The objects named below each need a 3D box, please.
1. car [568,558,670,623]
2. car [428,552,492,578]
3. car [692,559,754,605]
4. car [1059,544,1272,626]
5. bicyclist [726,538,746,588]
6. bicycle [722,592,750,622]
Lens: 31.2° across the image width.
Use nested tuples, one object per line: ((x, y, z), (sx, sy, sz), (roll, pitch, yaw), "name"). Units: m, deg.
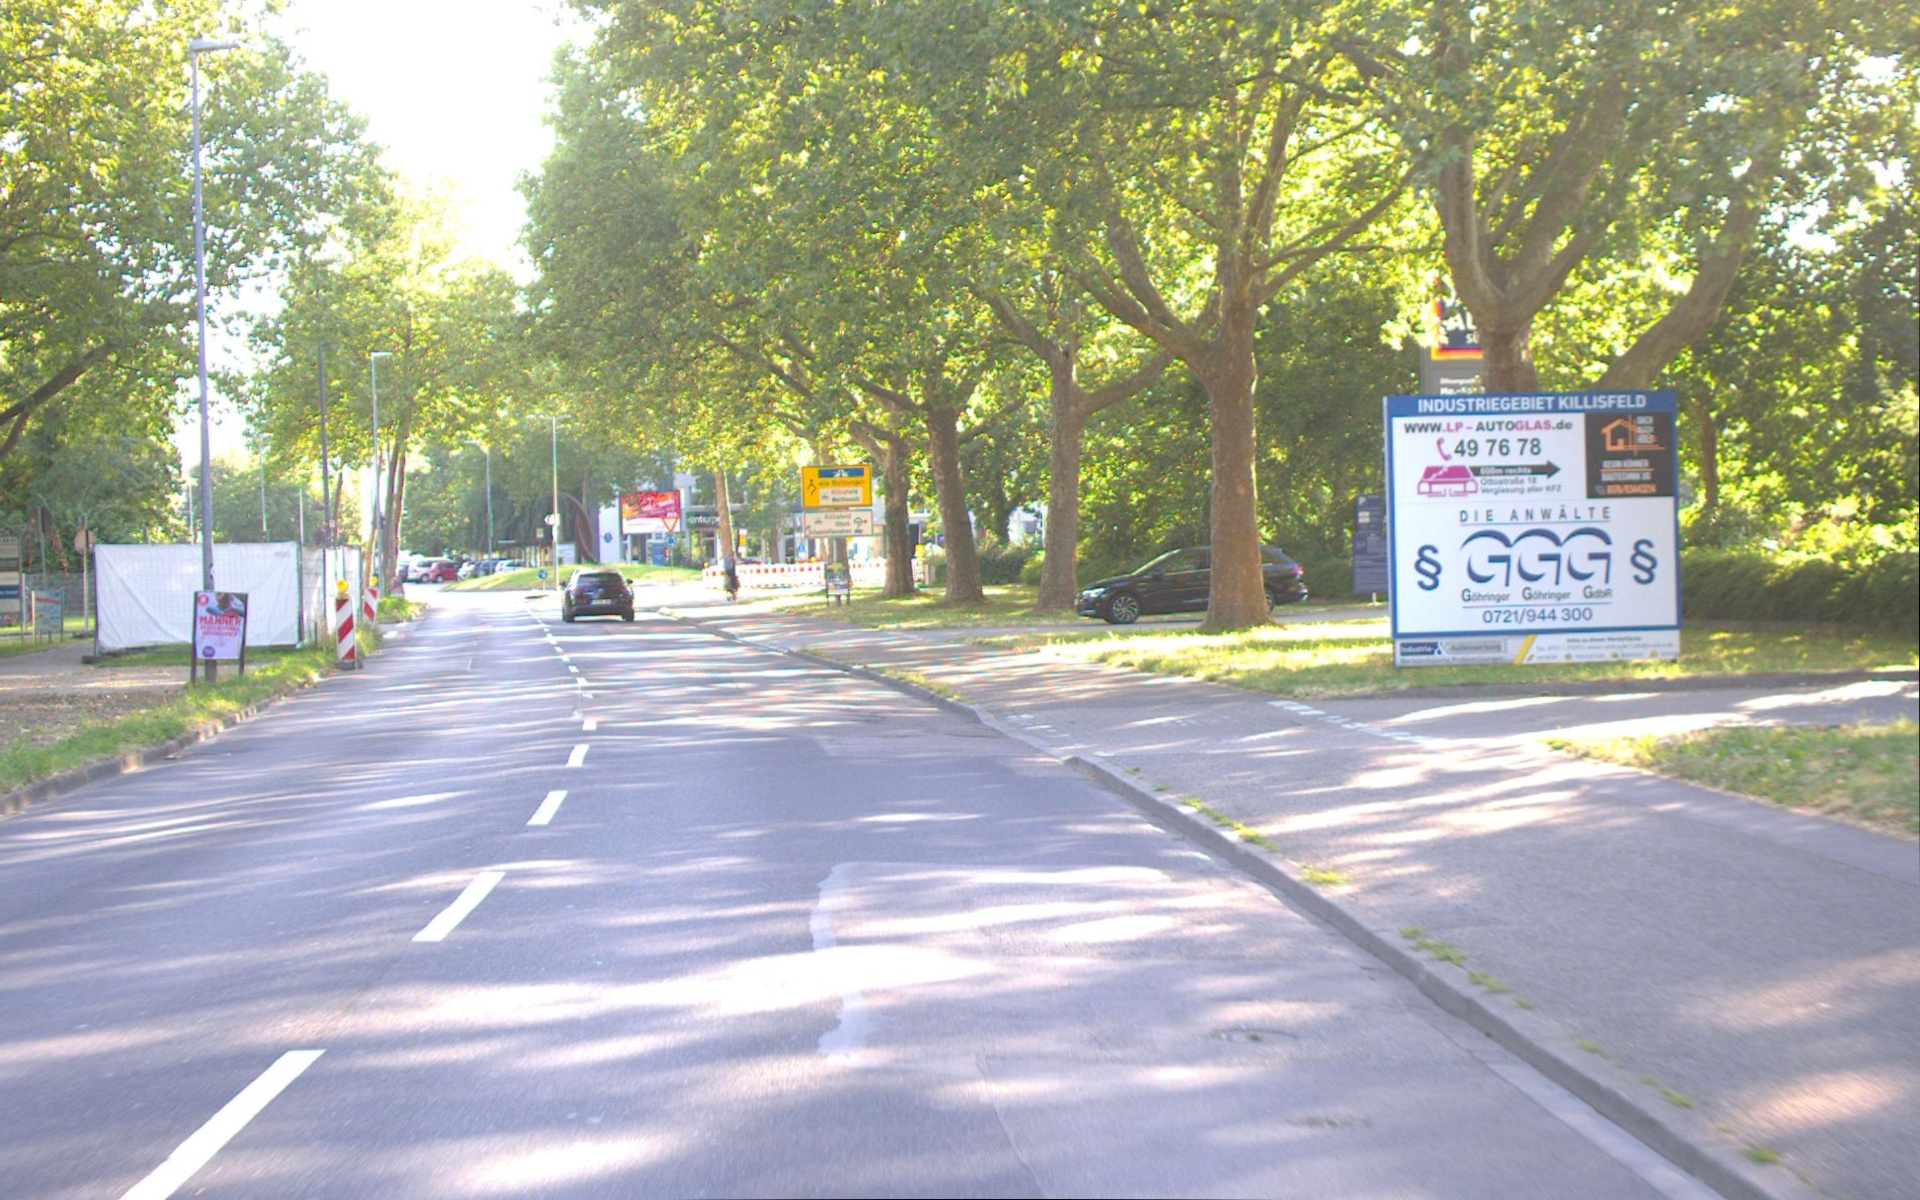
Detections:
((-8.991, -0.270, 90.853), (1.840, 1.600, 3.862), (-2, 1, 7), "car")
((-34.919, -2.437, 240.096), (3.988, 1.741, 1.795), (-1, 1, -37), "car")
((-10.980, -0.868, 159.517), (1.994, 2.007, 3.999), (-1, 1, 9), "car")
((4.080, -0.305, 68.530), (3.986, 1.438, 1.761), (-3, 1, -4), "car")
((-7.745, -1.275, 118.883), (0.650, 1.699, 0.871), (0, 1, -7), "bicyclist")
((-7.720, 0.231, 118.512), (0.770, 0.961, 2.175), (-3, 0, -8), "bicycle")
